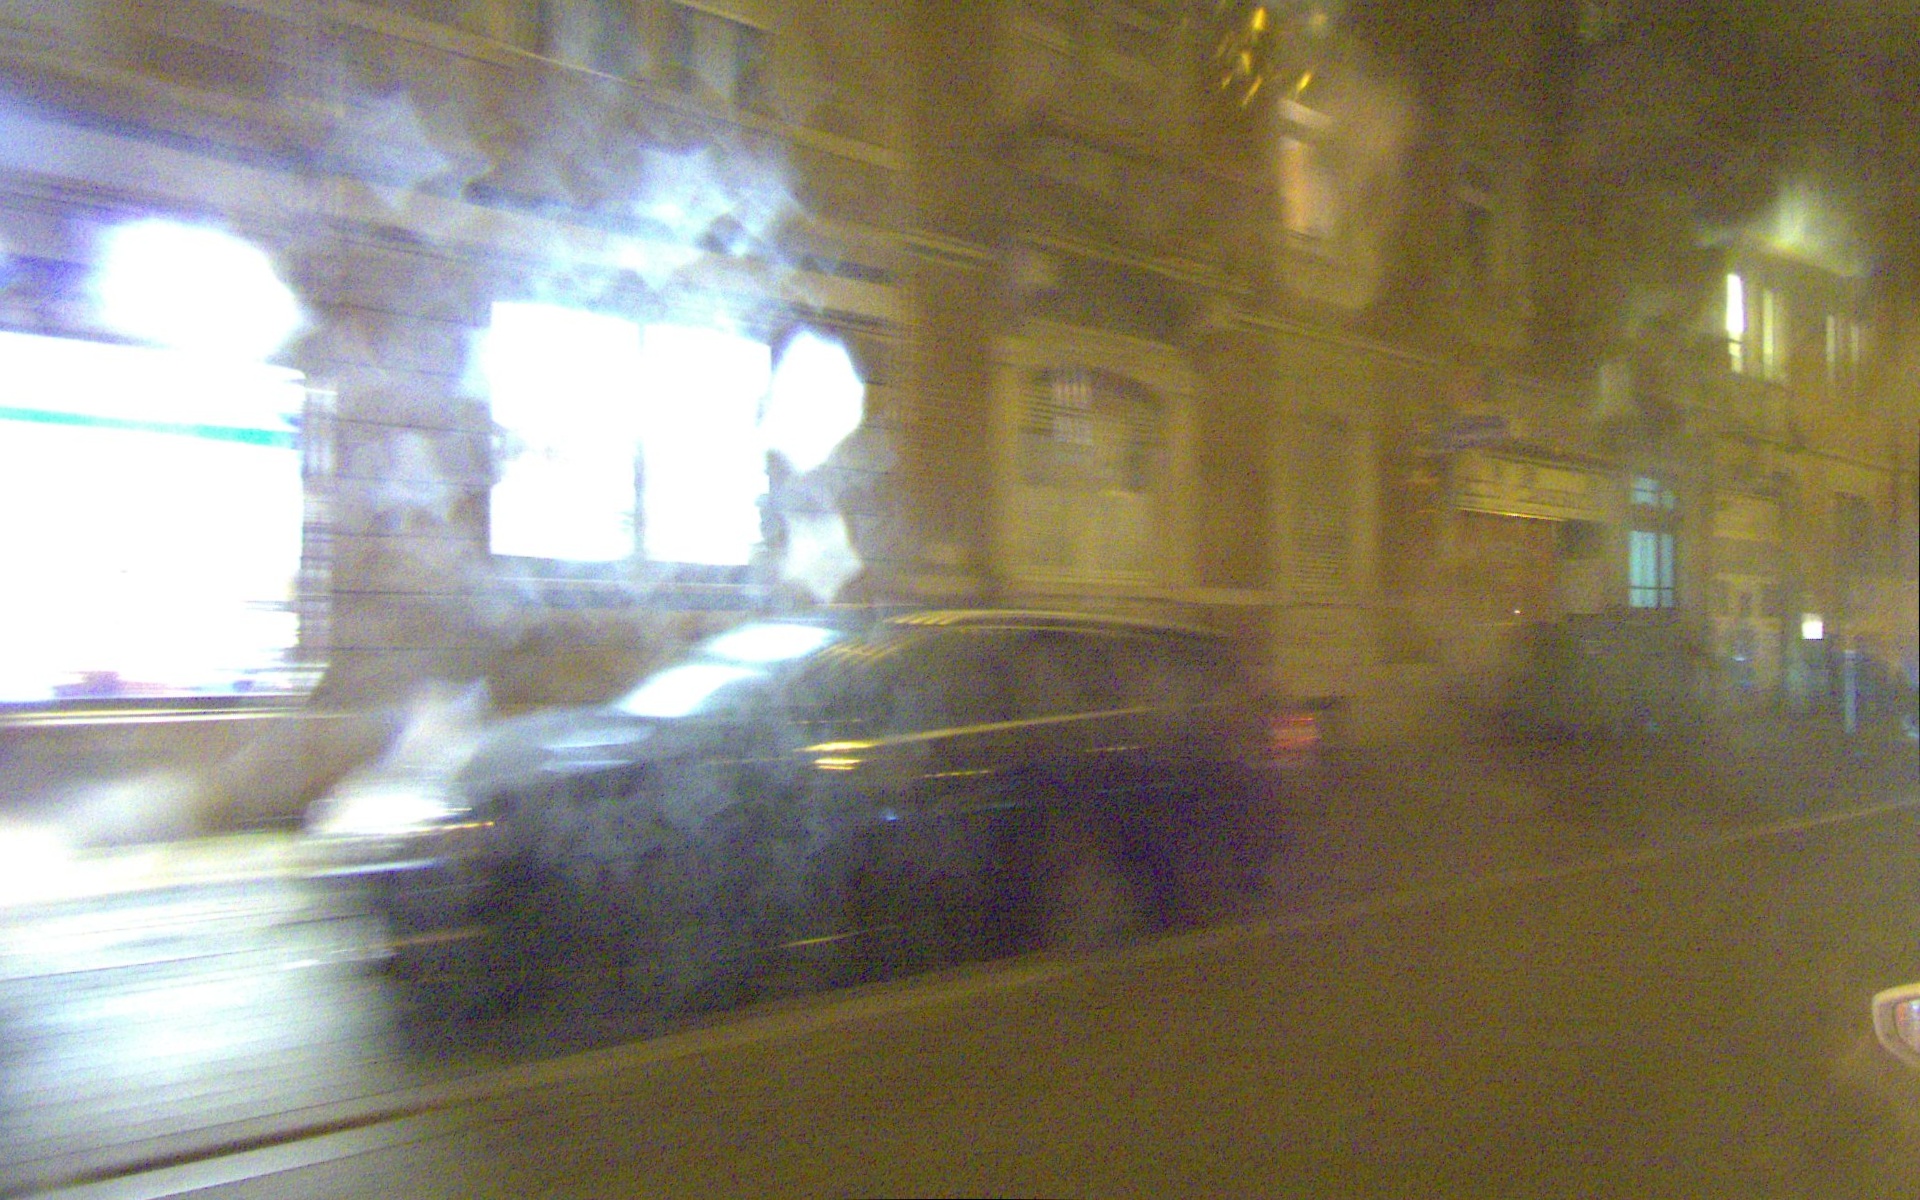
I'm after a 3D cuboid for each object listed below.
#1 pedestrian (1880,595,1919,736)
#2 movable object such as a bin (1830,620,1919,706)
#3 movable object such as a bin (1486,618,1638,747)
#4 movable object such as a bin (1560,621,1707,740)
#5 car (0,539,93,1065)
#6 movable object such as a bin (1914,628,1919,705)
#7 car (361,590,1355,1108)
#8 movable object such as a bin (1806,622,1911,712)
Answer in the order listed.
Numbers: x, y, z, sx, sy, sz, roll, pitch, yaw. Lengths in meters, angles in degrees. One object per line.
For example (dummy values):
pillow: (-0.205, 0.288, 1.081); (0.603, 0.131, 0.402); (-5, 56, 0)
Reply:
pedestrian: (12.926, 0.868, 13.478); (0.785, 1.845, 0.588); (1, 1, -30)
movable object such as a bin: (16.274, 1.093, 17.772); (1.119, 1.439, 0.971); (1, 1, -27)
movable object such as a bin: (7.371, 0.972, 12.330); (1.139, 1.439, 1.136); (1, 1, -27)
movable object such as a bin: (8.839, 1.017, 13.206); (1.232, 1.439, 1.136); (1, 1, -27)
car: (-4.683, 0.577, 2.178); (3.978, 1.573, 1.595); (1, 0, -31)
movable object such as a bin: (18.361, 1.239, 18.379); (1.119, 1.417, 0.971); (1, 1, -27)
car: (-0.277, 0.735, 4.679); (4.265, 1.475, 1.678); (1, 0, -31)
movable object such as a bin: (15.233, 1.114, 17.043); (1.119, 1.439, 0.971); (1, 1, -27)
